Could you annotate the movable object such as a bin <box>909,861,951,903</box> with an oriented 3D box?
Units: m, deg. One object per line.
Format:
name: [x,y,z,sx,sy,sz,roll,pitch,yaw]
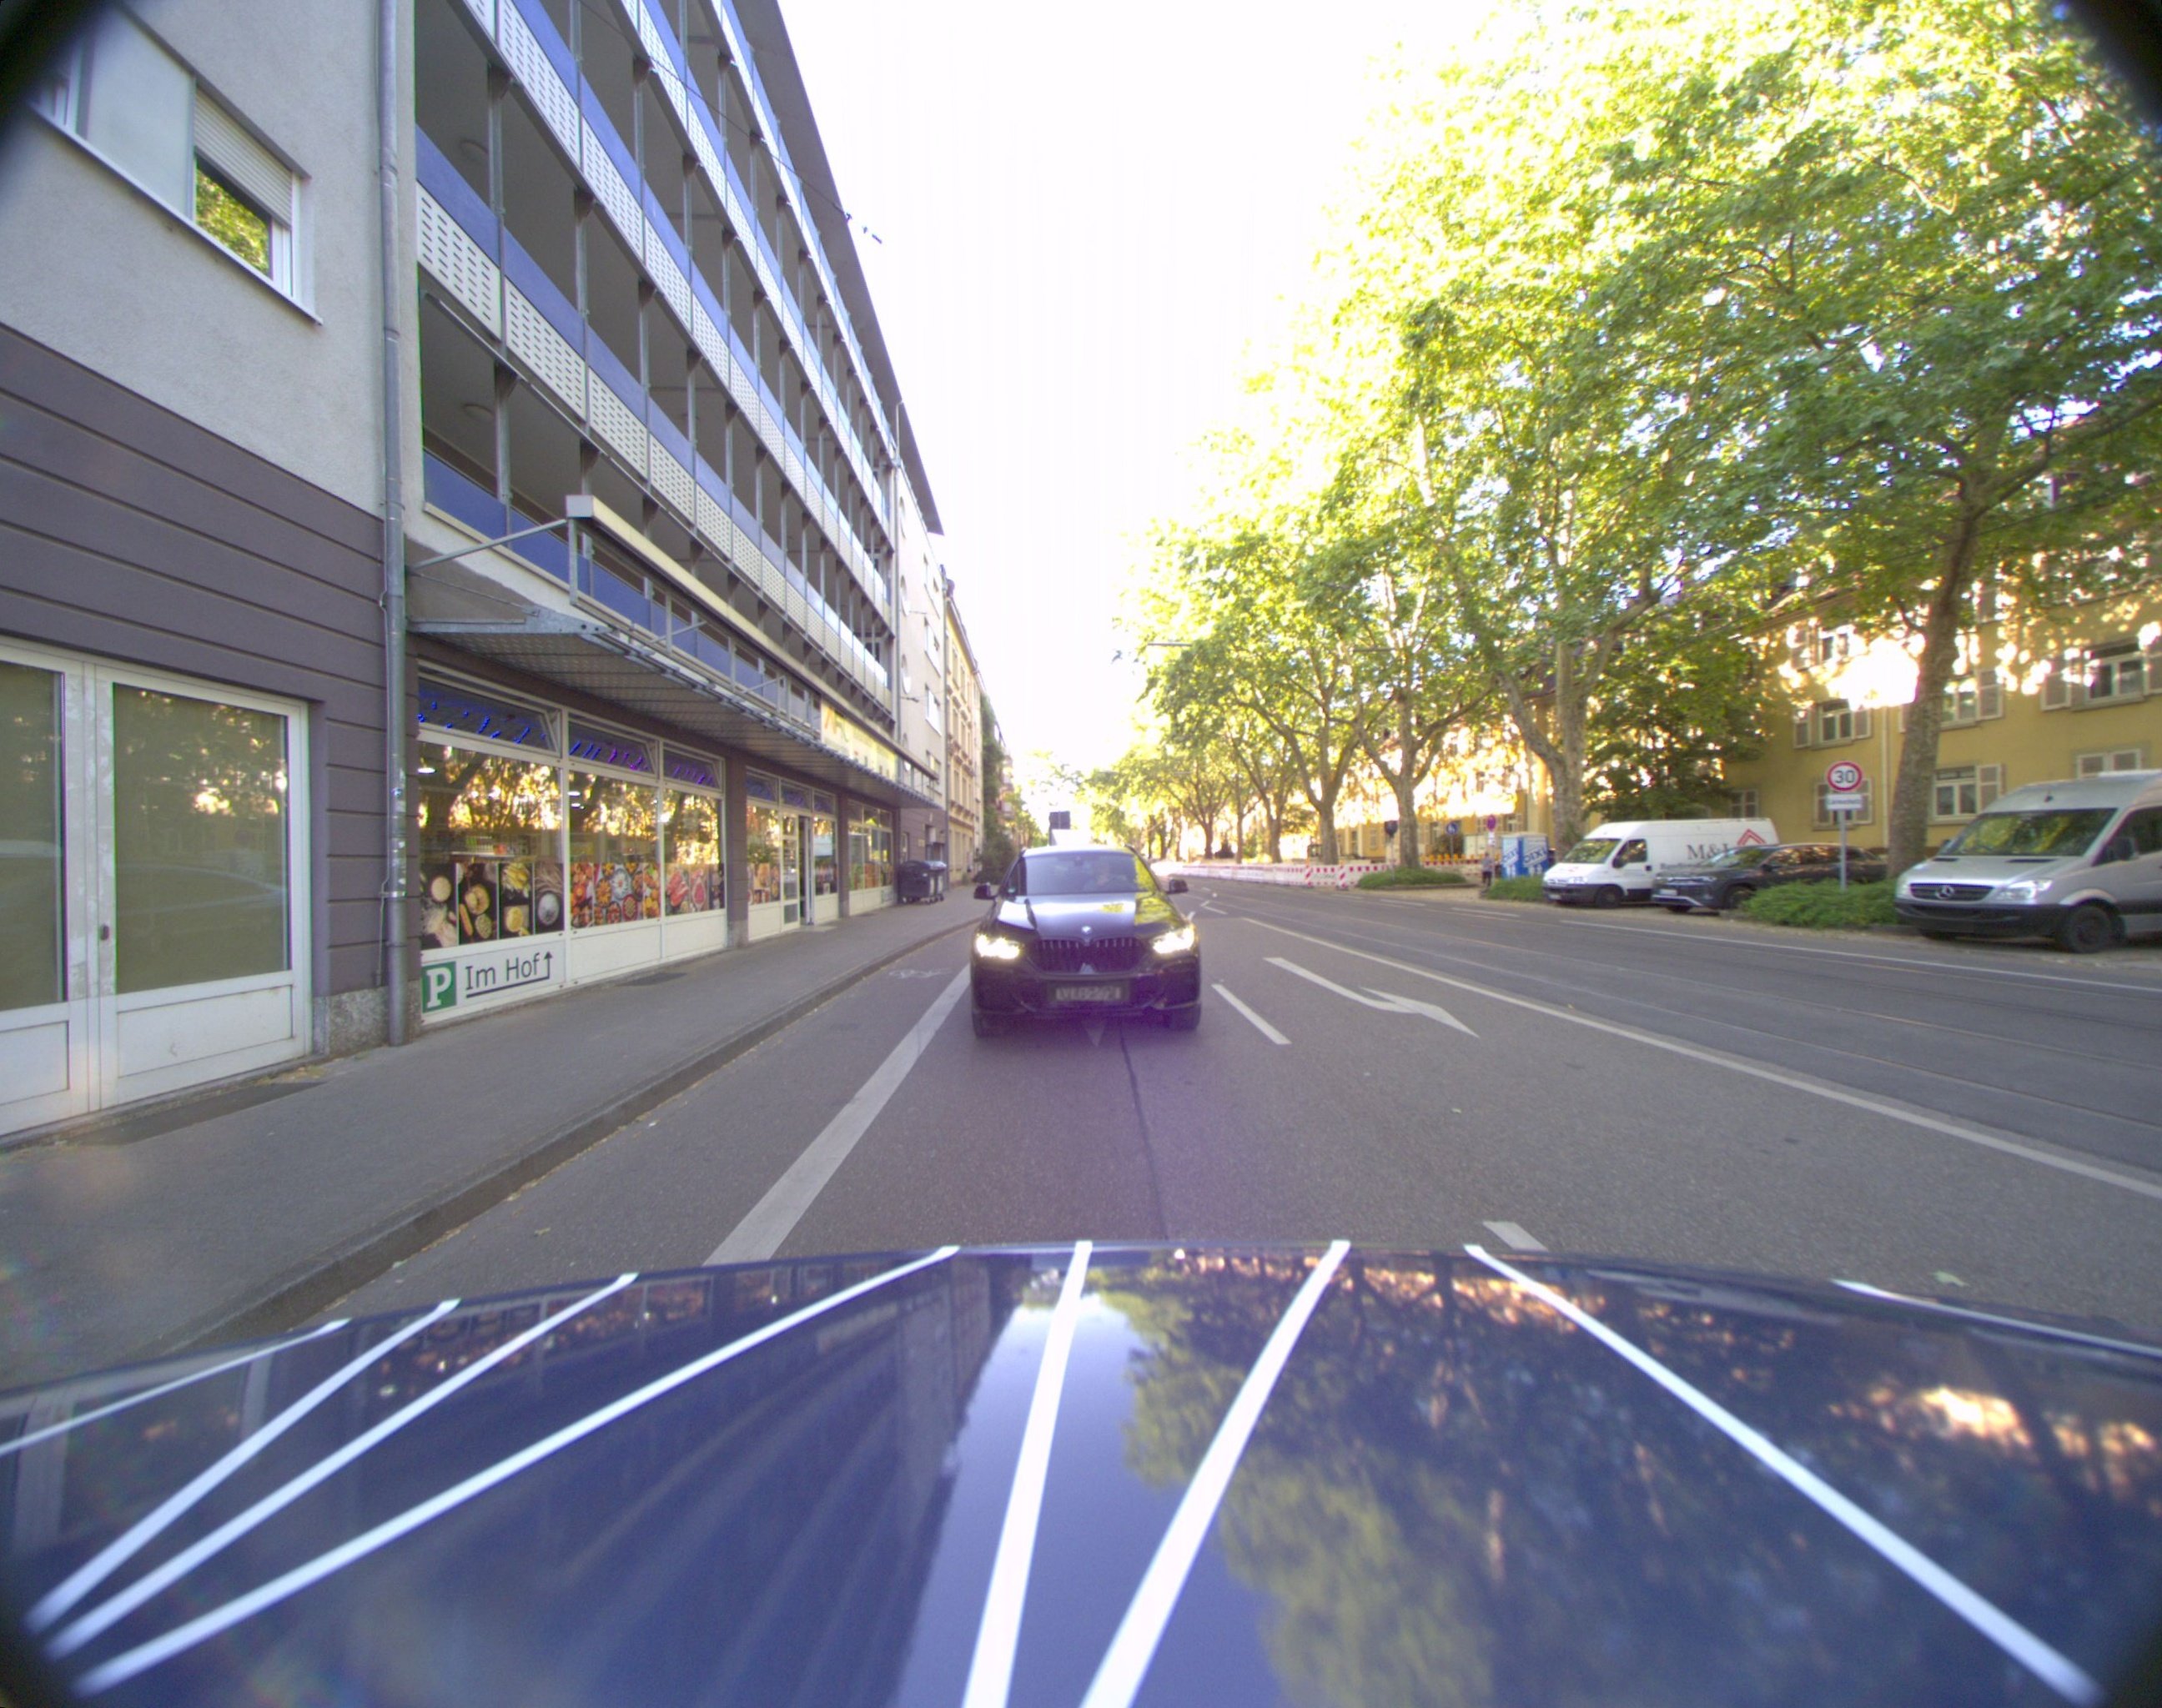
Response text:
movable object such as a bin: [-5.287,0.973,26.708,1.122,1.437,1.306,-1,0,4]

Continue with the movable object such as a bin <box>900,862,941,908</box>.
movable object such as a bin: [-5.228,0.988,24.813,1.069,1.438,1.296,-1,0,-1]

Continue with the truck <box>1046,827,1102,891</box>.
truck: [-0.573,0.287,43.158,2.385,3.165,8.525,2,0,-5]

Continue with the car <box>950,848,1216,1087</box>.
car: [0.039,0.869,7.952,1.943,1.733,4.475,-2,0,1]

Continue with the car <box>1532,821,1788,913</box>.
car: [15.852,0.343,21.000,5.612,2.361,2.025,-1,0,-2]

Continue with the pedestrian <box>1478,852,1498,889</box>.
pedestrian: [17.249,0.686,32.175,0.595,1.563,0.719,-1,0,39]

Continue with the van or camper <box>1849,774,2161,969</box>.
van or camper: [16.088,0.185,11.800,6.127,2.661,2.229,-2,0,-2]

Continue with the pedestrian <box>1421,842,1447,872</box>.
pedestrian: [24.045,0.215,51.788,1.098,2.002,1.235,-1,0,-4]

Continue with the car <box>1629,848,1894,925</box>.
car: [15.940,0.722,17.973,4.575,1.621,1.969,-1,0,-2]
